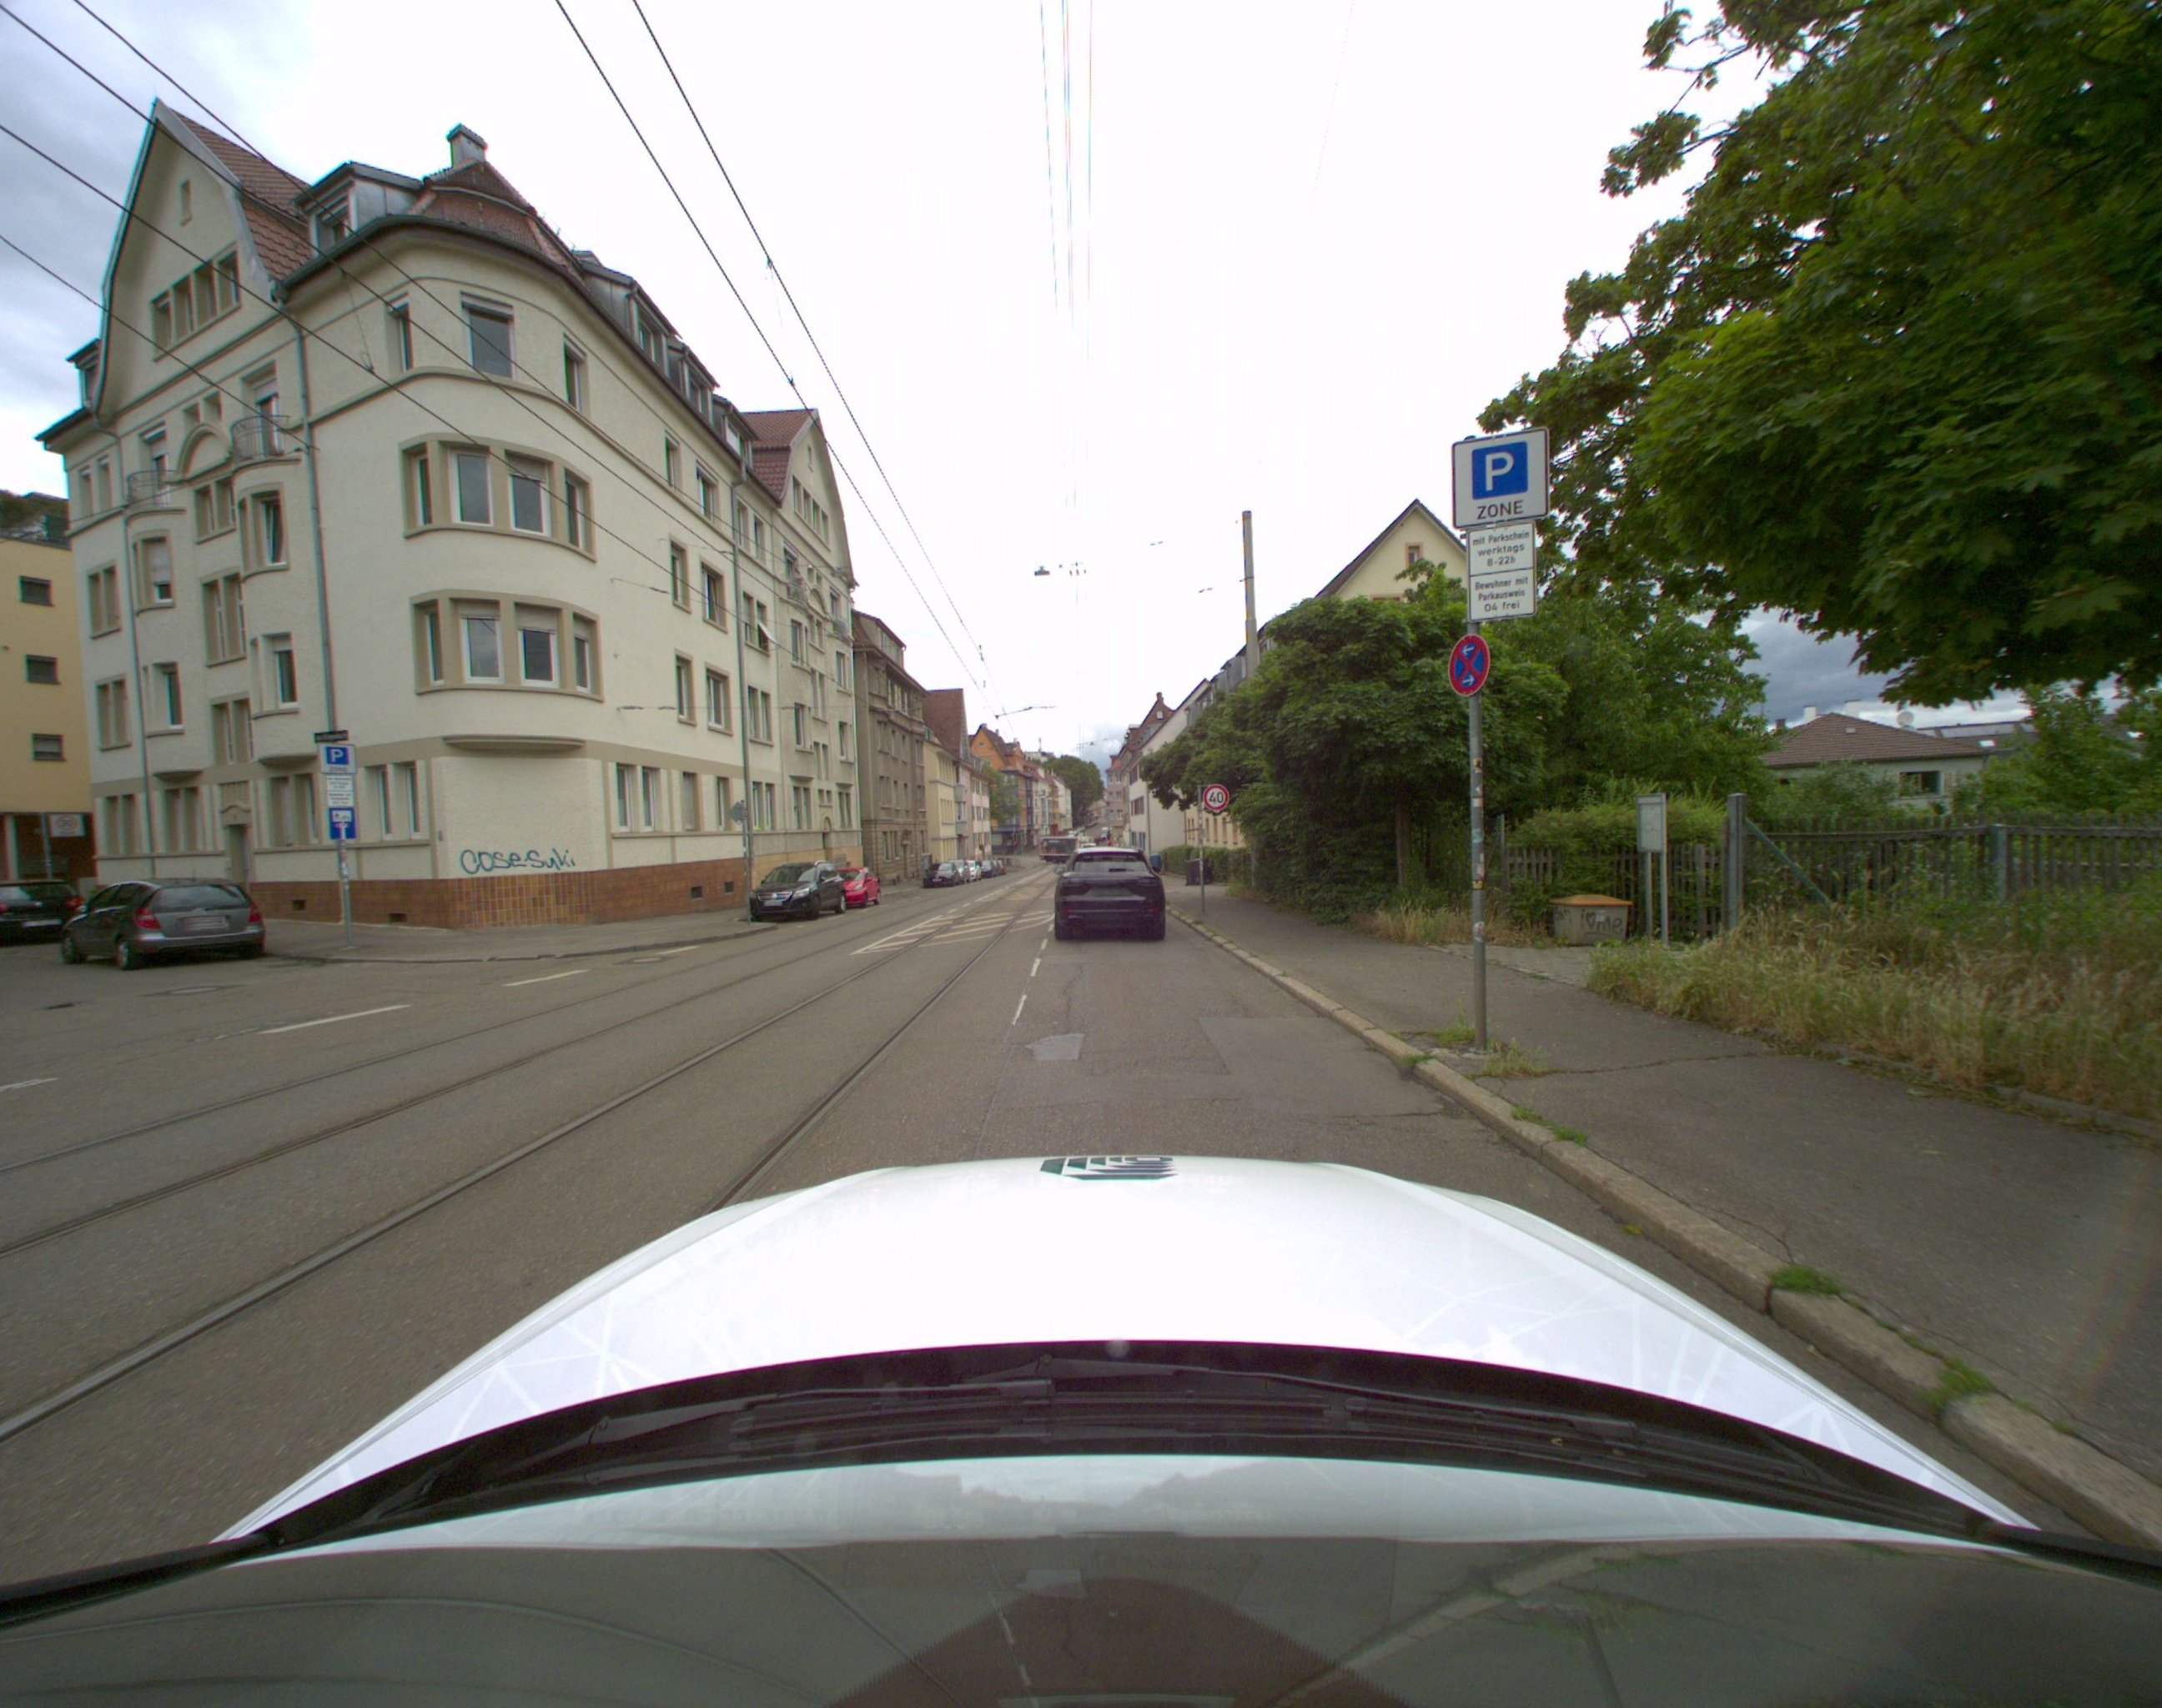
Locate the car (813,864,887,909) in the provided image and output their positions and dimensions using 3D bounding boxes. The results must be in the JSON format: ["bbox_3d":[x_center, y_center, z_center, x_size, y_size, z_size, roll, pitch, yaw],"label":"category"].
[{"bbox_3d":[-8.328,1.147,29.675,1.616,1.463,3.743,-3,-1,-1],"label":"car"}]

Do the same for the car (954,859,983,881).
[{"bbox_3d":[-8.104,1.137,59.064,1.616,1.463,3.682,-3,-1,-1],"label":"car"}]

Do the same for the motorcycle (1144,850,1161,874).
[{"bbox_3d":[4.476,0.480,51.201,0.835,1.456,2.553,-2,-1,1],"label":"motorcycle"}]

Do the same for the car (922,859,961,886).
[{"bbox_3d":[-8.212,1.104,48.183,1.616,1.463,4.030,-3,-1,-1],"label":"car"}]

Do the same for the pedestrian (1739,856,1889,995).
[{"bbox_3d":[7.329,0.688,8.187,0.742,1.308,0.808,-2,-1,1],"label":"pedestrian"}]

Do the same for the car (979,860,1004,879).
[{"bbox_3d":[-7.391,1.314,67.622,1.616,1.473,4.553,-3,-1,-1],"label":"car"}]

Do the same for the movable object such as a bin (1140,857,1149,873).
[{"bbox_3d":[4.495,0.785,57.840,0.586,1.080,0.692,-2,-1,2],"label":"movable object such as a bin"}]

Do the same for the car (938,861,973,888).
[{"bbox_3d":[-8.145,1.319,53.010,1.616,1.604,4.348,-3,-1,-1],"label":"car"}]

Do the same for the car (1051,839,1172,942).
[{"bbox_3d":[0.507,0.632,15.722,1.987,1.676,3.999,-2,-1,0],"label":"car"}]

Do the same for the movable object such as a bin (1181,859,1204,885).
[{"bbox_3d":[4.522,0.710,33.069,0.790,1.012,0.788,-2,-1,-4],"label":"movable object such as a bin"}]

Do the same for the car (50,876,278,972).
[{"bbox_3d":[-17.686,1.283,15.703,3.950,1.571,1.887,-2,0,26],"label":"car"}]

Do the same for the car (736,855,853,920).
[{"bbox_3d":[-8.197,0.927,23.747,1.862,1.646,4.399,-3,-1,-1],"label":"car"}]

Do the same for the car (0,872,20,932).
[{"bbox_3d":[-29.959,1.303,21.382,3.950,1.544,1.771,-2,0,26],"label":"car"}]

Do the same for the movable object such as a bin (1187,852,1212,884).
[{"bbox_3d":[4.697,0.567,32.237,0.790,1.218,0.788,-2,-1,-4],"label":"movable object such as a bin"}]

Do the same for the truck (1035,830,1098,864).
[{"bbox_3d":[-2.037,-0.869,111.335,8.483,4.182,2.274,-3,-3,29],"label":"truck"}]

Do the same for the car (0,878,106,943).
[{"bbox_3d":[-24.933,1.308,18.995,3.950,1.354,1.887,-2,0,26],"label":"car"}]
